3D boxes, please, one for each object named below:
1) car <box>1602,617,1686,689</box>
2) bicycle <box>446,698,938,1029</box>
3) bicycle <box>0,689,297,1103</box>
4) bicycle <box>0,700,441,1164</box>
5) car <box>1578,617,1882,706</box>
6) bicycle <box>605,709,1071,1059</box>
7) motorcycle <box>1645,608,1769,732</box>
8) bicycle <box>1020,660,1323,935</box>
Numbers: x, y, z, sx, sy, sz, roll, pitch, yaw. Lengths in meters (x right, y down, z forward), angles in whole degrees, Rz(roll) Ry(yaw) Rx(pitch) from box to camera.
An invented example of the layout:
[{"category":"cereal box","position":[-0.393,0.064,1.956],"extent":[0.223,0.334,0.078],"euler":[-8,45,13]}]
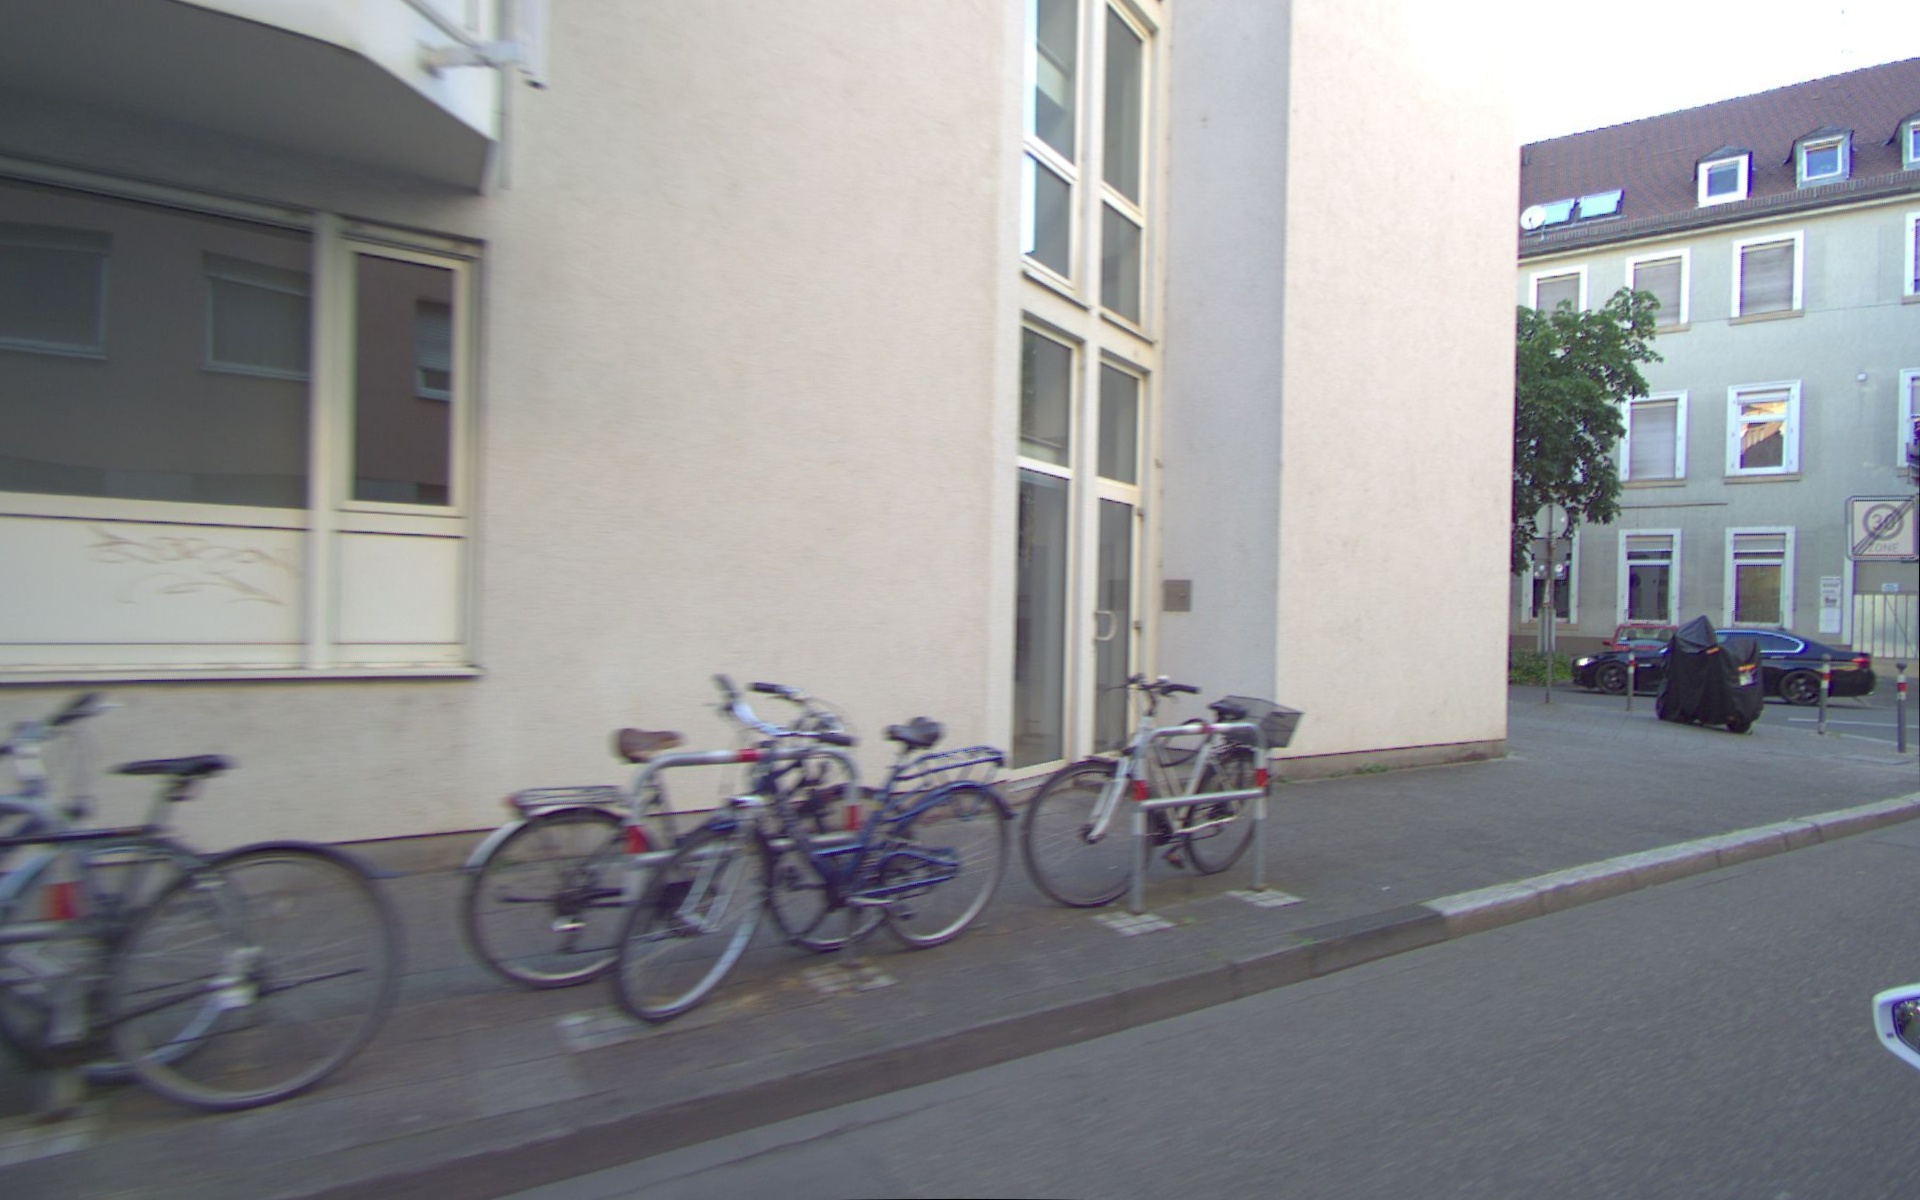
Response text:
[{"category":"car","position":[16.357,1.201,24.032],"extent":[1.540,1.495,3.656],"euler":[1,0,35]},{"category":"bicycle","position":[-0.929,0.900,3.807],"extent":[1.793,0.944,0.305],"euler":[0,0,-33]},{"category":"bicycle","position":[-2.849,0.806,2.667],"extent":[1.792,1.056,0.305],"euler":[1,1,-31]},{"category":"bicycle","position":[-2.348,0.832,2.573],"extent":[1.792,1.056,0.305],"euler":[1,1,-31]},{"category":"car","position":[14.971,1.130,19.886],"extent":[4.589,1.469,1.763],"euler":[1,0,34]},{"category":"bicycle","position":[-0.358,0.940,3.726],"extent":[1.796,0.944,0.304],"euler":[1,1,-37]},{"category":"motorcycle","position":[10.343,0.908,14.006],"extent":[0.656,1.576,2.163],"euler":[1,0,16]},{"category":"bicycle","position":[1.116,0.892,5.029],"extent":[1.796,1.117,0.397],"euler":[1,1,-38]}]
